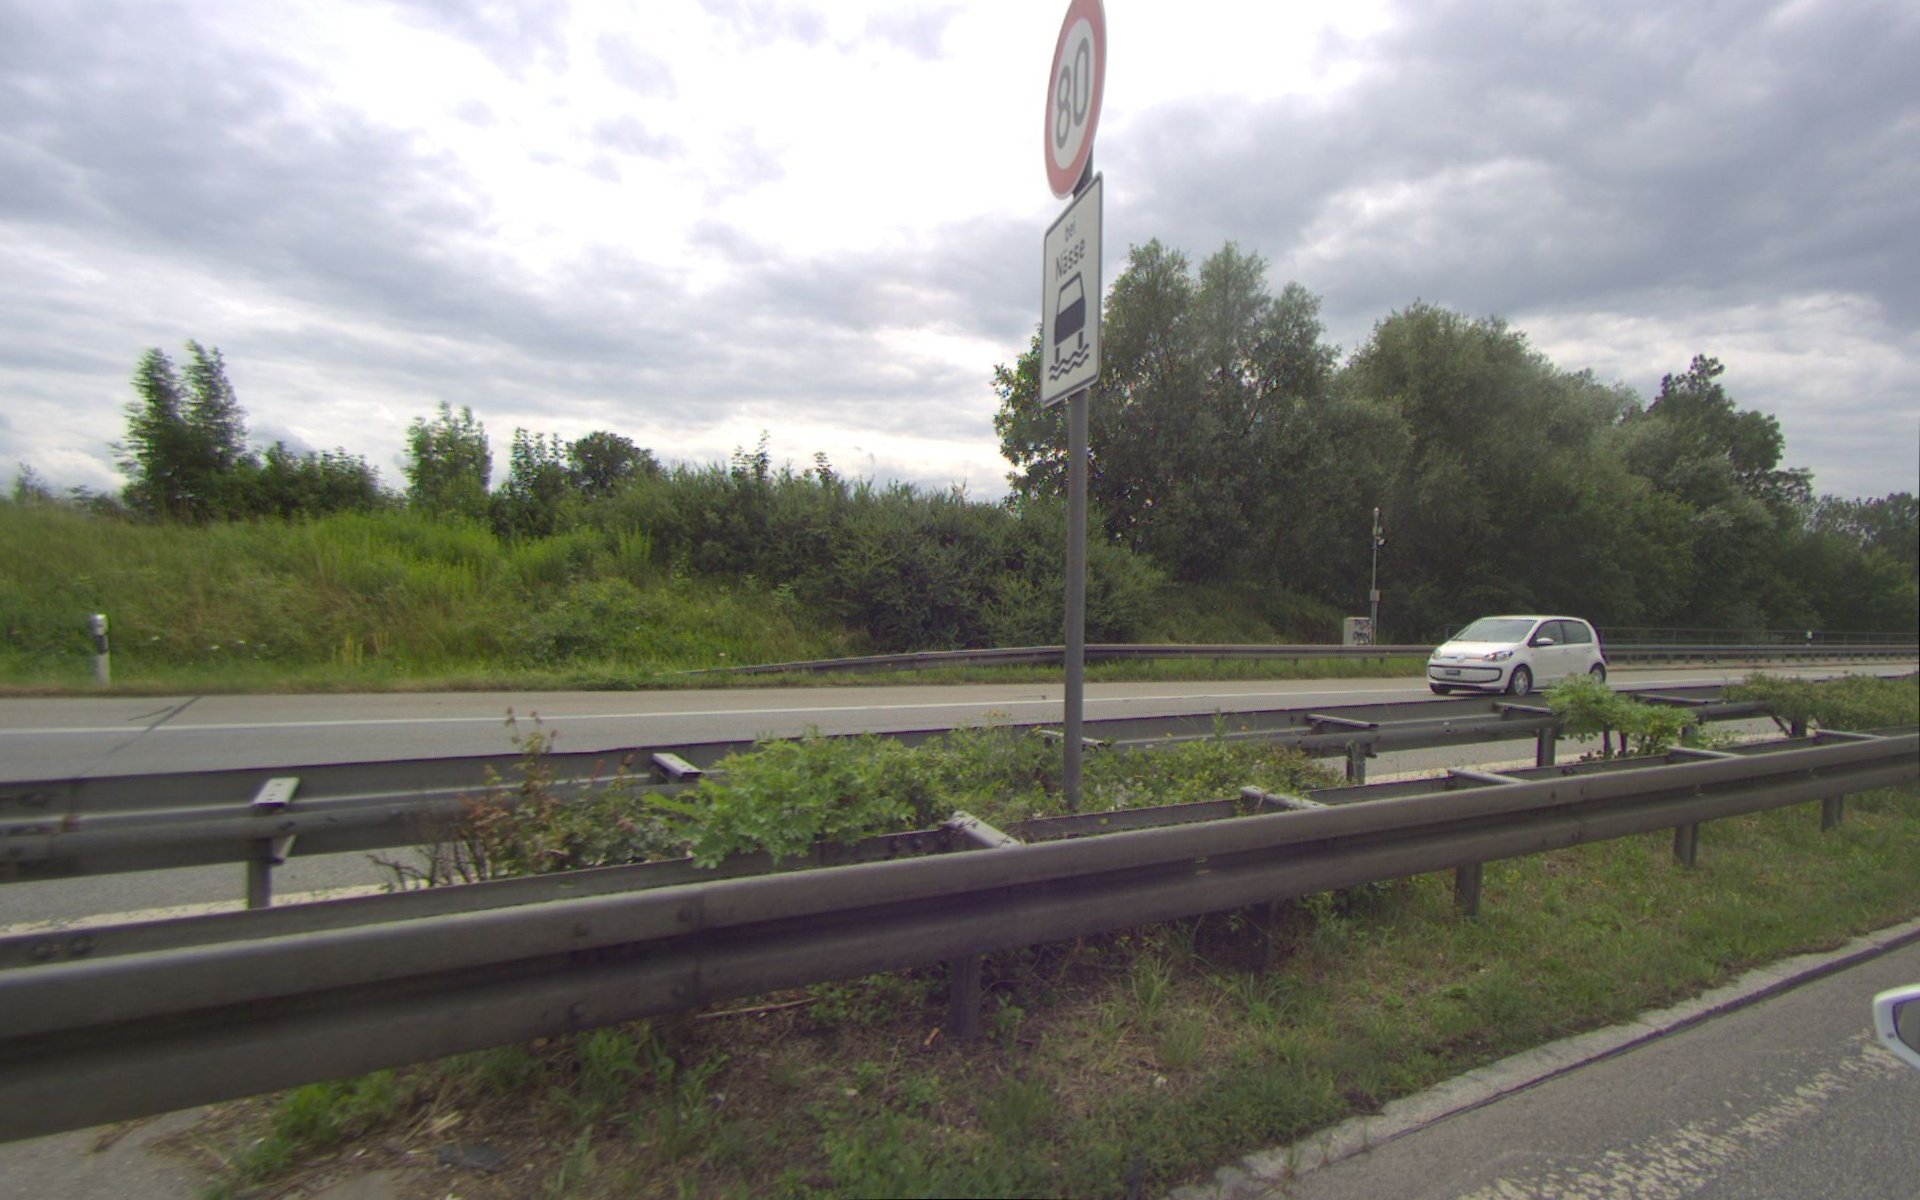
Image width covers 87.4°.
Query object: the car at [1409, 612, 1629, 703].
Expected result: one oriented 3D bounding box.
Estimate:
[{"bbox_3d":[10.322,1.025,18.473,4.232,1.512,1.642,2,-2,-30],"label":"car"}]
